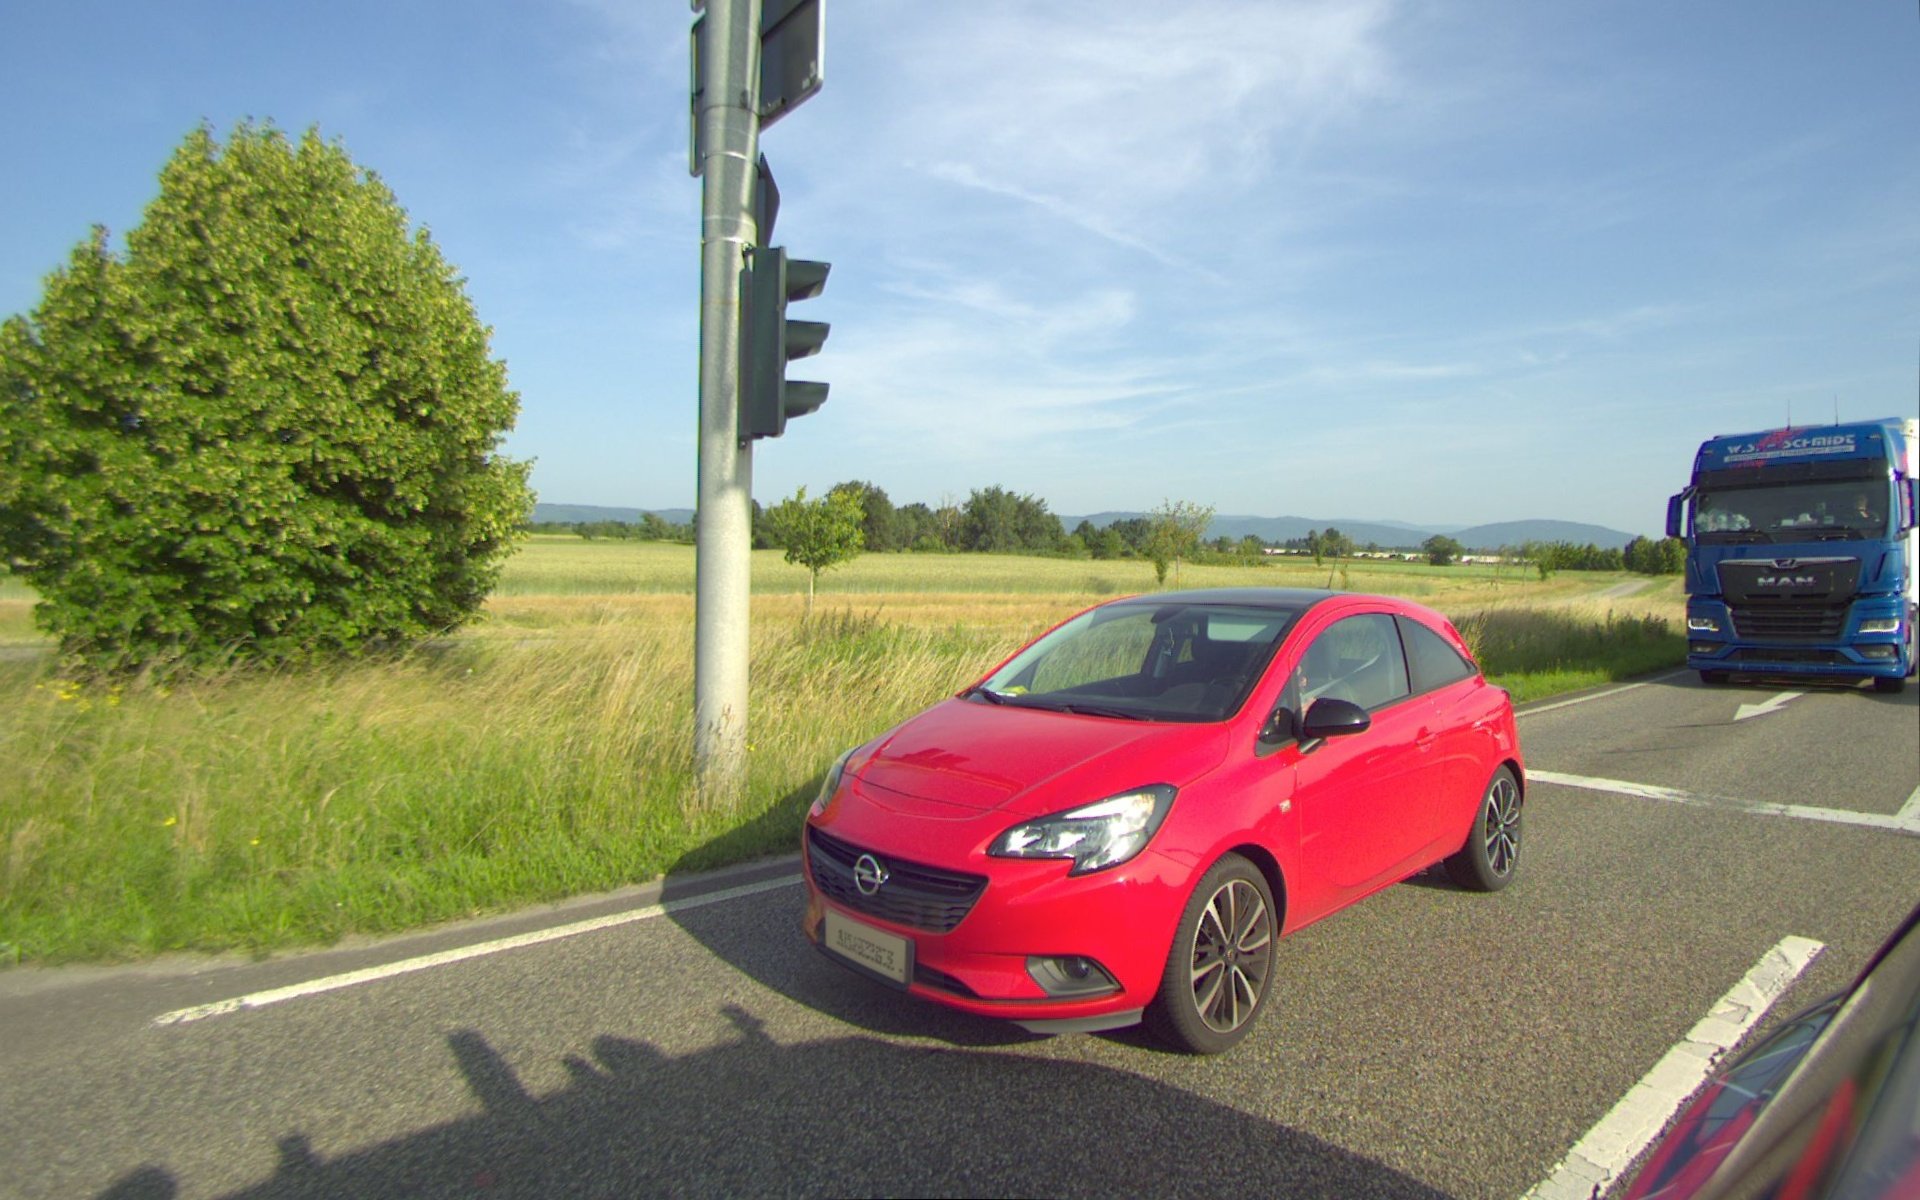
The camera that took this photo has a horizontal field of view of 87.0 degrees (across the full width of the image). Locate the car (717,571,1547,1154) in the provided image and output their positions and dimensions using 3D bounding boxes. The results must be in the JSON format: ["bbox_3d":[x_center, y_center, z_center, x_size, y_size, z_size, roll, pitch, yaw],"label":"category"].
[{"bbox_3d":[1.064,0.613,4.515,3.889,1.482,1.663,-1,2,-43],"label":"car"}]

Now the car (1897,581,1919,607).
[{"bbox_3d":[61.689,-0.390,64.952,1.991,1.552,3.943,2,2,40],"label":"car"}]

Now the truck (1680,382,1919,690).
[{"bbox_3d":[13.600,-0.895,16.027,5.854,3.968,2.646,-1,1,-45],"label":"truck"}]

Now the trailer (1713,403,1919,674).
[{"bbox_3d":[18.278,-1.066,20.728,2.646,4.028,13.706,0,1,45],"label":"trailer"}]
